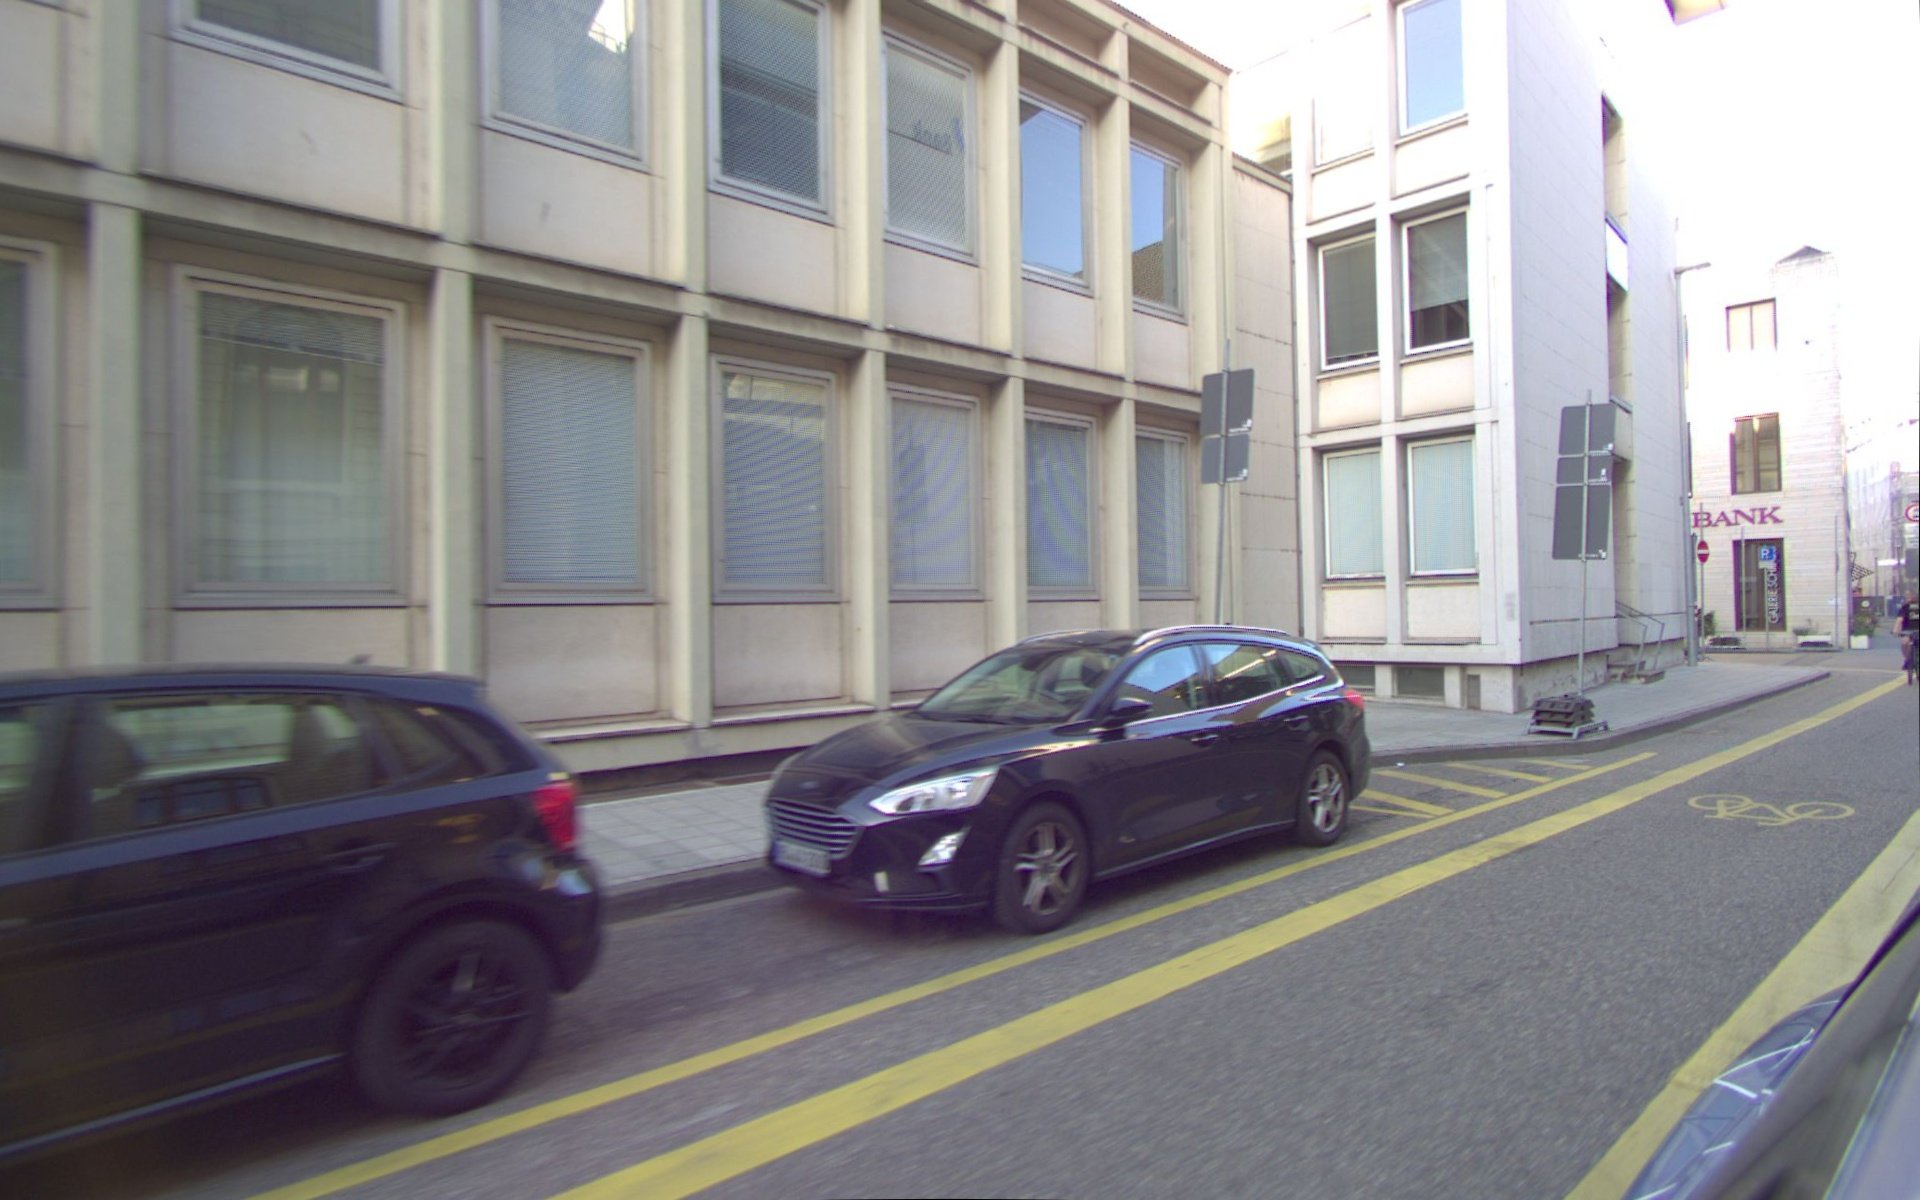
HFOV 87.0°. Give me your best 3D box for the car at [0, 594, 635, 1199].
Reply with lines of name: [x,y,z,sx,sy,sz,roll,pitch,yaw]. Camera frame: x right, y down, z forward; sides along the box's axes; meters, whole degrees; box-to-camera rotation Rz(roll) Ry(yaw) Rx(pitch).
car: [-3.306,0.810,2.784,4.215,1.498,1.783,-2,-1,-41]

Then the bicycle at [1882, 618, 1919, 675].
bicycle: [17.798,0.827,18.523,1.782,0.986,0.512,-1,0,-17]

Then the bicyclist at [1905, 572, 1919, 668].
bicyclist: [17.809,0.364,18.526,0.540,1.753,0.502,-1,0,-16]

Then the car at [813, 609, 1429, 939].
car: [1.289,0.853,6.792,4.214,1.499,1.784,0,-3,-41]
